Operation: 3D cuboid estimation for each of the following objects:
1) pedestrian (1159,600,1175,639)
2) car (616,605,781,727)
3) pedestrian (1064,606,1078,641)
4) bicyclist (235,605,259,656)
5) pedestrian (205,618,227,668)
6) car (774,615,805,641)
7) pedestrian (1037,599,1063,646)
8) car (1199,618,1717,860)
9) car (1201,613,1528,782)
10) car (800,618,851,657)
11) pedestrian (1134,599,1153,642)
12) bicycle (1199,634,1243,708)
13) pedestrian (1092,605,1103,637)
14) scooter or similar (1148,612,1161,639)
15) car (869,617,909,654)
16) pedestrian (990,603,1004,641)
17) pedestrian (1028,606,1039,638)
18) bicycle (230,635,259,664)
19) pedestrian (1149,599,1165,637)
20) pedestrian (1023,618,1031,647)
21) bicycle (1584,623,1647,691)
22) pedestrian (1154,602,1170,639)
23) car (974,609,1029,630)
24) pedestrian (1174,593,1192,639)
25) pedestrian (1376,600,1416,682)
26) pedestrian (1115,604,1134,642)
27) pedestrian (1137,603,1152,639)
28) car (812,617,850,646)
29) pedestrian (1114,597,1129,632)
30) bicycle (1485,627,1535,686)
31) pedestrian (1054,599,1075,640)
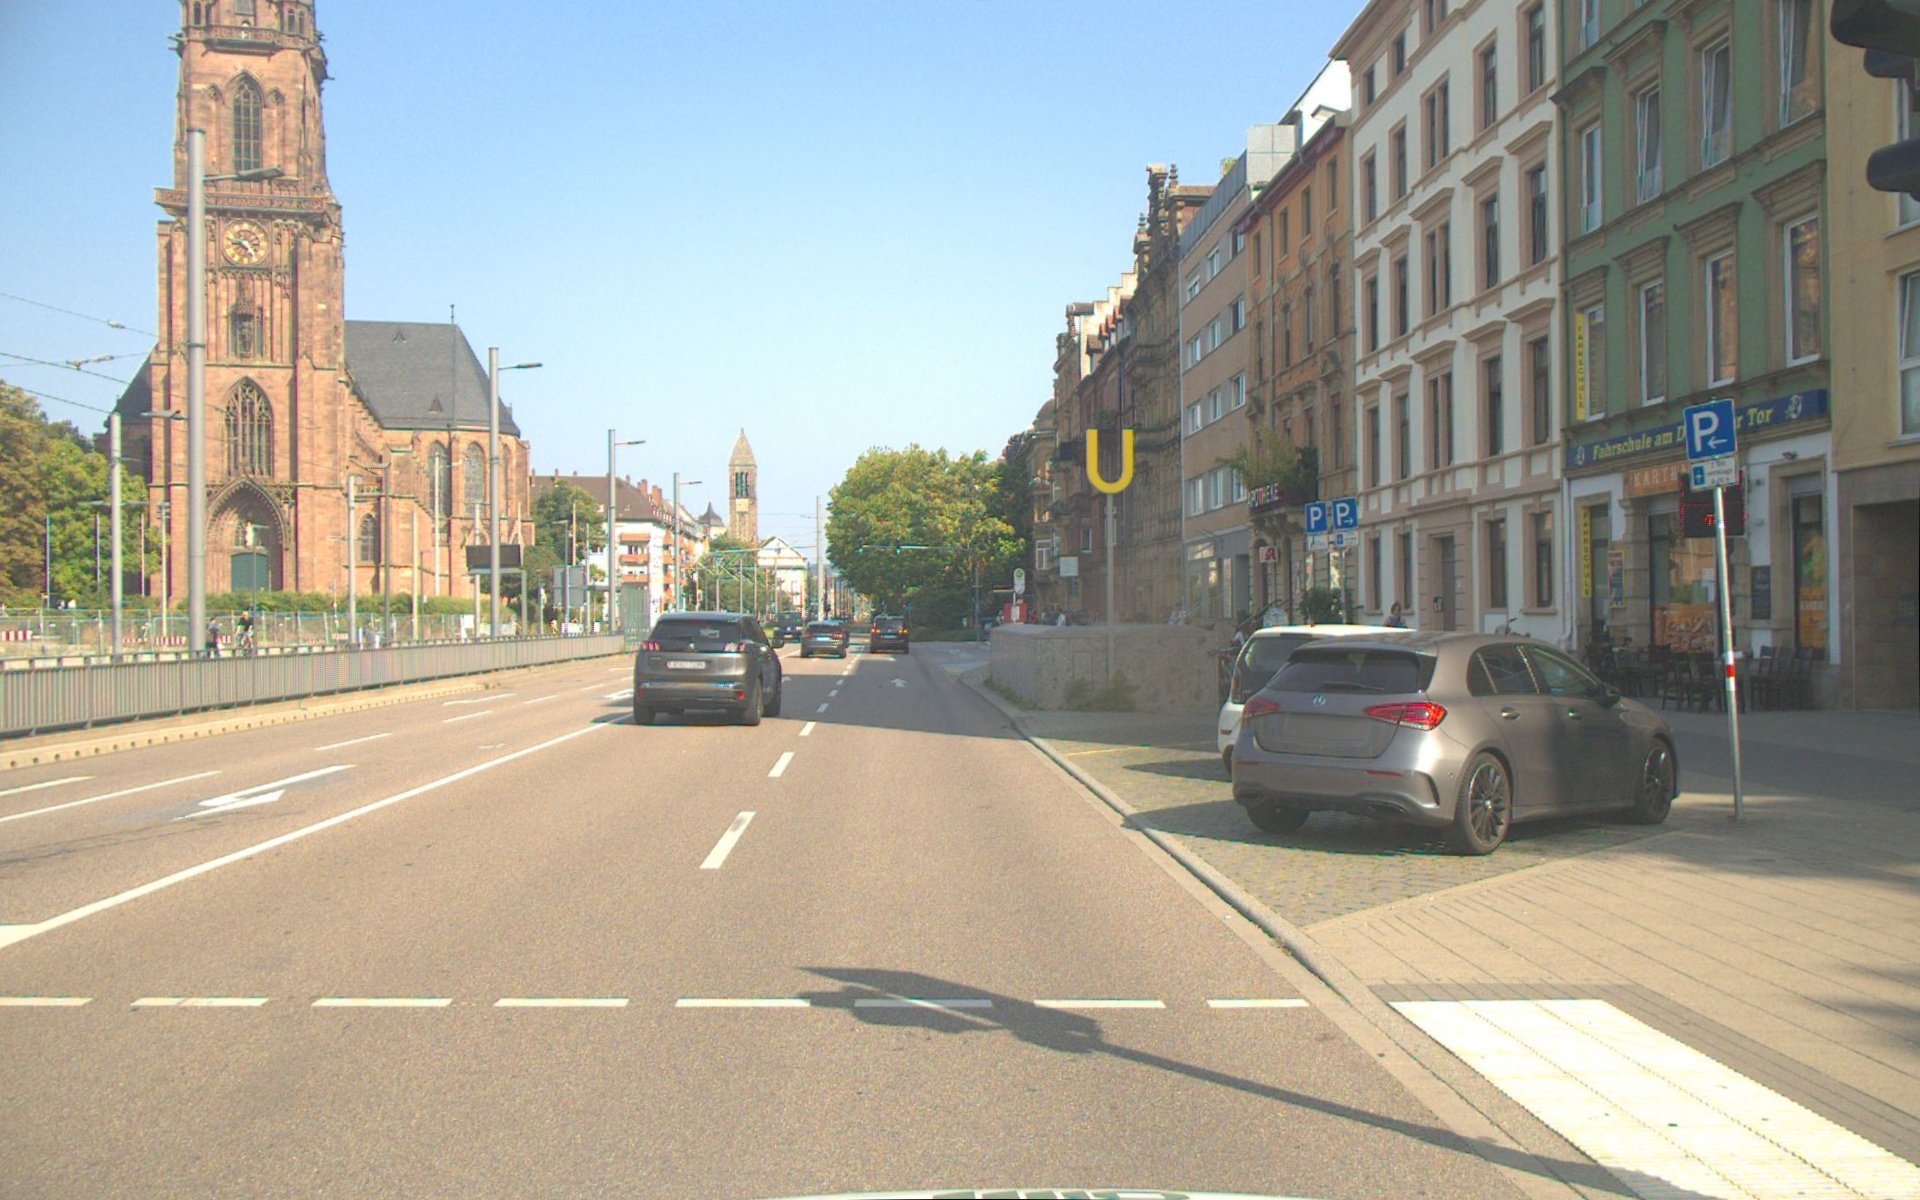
[{"bbox_3d":[9.366,0.881,74.706,0.591,1.762,0.510,-1,-1,-6],"label":"pedestrian"},{"bbox_3d":[-3.842,0.919,25.038,1.953,1.649,4.354,-1,0,-2],"label":"car"},{"bbox_3d":[5.810,1.228,86.410,0.604,1.836,1.071,-1,-1,-2],"label":"pedestrian"},{"bbox_3d":[-24.992,1.074,57.972,0.477,1.778,0.819,-1,-1,-2],"label":"bicyclist"},{"bbox_3d":[-26.230,1.508,58.317,0.507,1.730,0.664,-1,-1,-4],"label":"pedestrian"},{"bbox_3d":[-10.548,1.712,102.595,1.706,1.553,3.870,-1,0,-4],"label":"car"},{"bbox_3d":[3.667,0.914,67.346,0.907,1.864,0.800,-1,-1,-6],"label":"pedestrian"},{"bbox_3d":[3.811,0.868,12.211,4.377,1.448,1.817,0,-1,-45],"label":"car"},{"bbox_3d":[4.106,0.887,16.512,3.502,1.489,1.596,0,-1,-45],"label":"car"},{"bbox_3d":[-5.363,1.485,66.347,1.826,1.449,4.355,1,0,-2],"label":"car"},{"bbox_3d":[7.898,0.889,71.160,0.705,1.819,0.856,-1,-1,-2],"label":"pedestrian"},{"bbox_3d":[4.302,1.153,27.327,0.376,1.154,1.789,-1,0,-2],"label":"bicycle"},{"bbox_3d":[7.205,1.092,86.506,0.476,1.638,0.812,-1,-1,-2],"label":"pedestrian"},{"bbox_3d":[8.656,1.134,73.539,0.353,1.183,1.151,-1,0,-5],"label":"scooter or similar"},{"bbox_3d":[-3.319,1.619,77.185,1.795,1.649,4.355,1,0,-2],"label":"car"},{"bbox_3d":[1.726,1.027,77.100,0.554,1.759,0.744,-1,-1,-6],"label":"pedestrian"},{"bbox_3d":[4.045,1.226,91.258,0.472,1.732,0.702,-1,-1,-6],"label":"pedestrian"},{"bbox_3d":[-25.046,1.729,57.891,0.343,0.970,1.695,-1,0,-2],"label":"bicycle"},{"bbox_3d":[9.102,0.834,76.536,0.591,1.721,0.586,-1,-1,-6],"label":"pedestrian"},{"bbox_3d":[3.010,1.448,74.256,0.270,1.296,0.447,-1,-1,-10],"label":"pedestrian"},{"bbox_3d":[11.711,1.004,29.586,0.376,1.154,1.718,-1,0,-2],"label":"bicycle"},{"bbox_3d":[9.264,0.937,75.833,0.591,1.721,0.586,-1,-1,-6],"label":"pedestrian"},{"bbox_3d":[3.320,1.566,131.838,4.101,1.591,1.997,-1,0,-7],"label":"car"},{"bbox_3d":[9.256,0.668,68.645,0.591,1.864,0.741,-1,-1,-6],"label":"pedestrian"},{"bbox_3d":[9.029,0.845,34.266,0.596,1.658,0.737,-1,-1,-2],"label":"pedestrian"},{"bbox_3d":[7.057,0.984,71.120,0.705,1.638,0.856,-1,-1,-2],"label":"pedestrian"},{"bbox_3d":[8.766,0.993,78.637,0.591,1.683,0.586,-1,-1,-6],"label":"pedestrian"},{"bbox_3d":[-6.848,1.640,88.122,1.826,1.449,4.355,1,0,-2],"label":"car"},{"bbox_3d":[8.121,0.716,83.051,0.617,1.749,0.690,-1,-1,-3],"label":"pedestrian"},{"bbox_3d":[11.236,1.151,33.845,0.376,1.154,1.718,-1,0,-2],"label":"bicycle"},{"bbox_3d":[4.488,0.833,71.167,0.735,1.759,0.800,-1,-1,-6],"label":"pedestrian"}]
